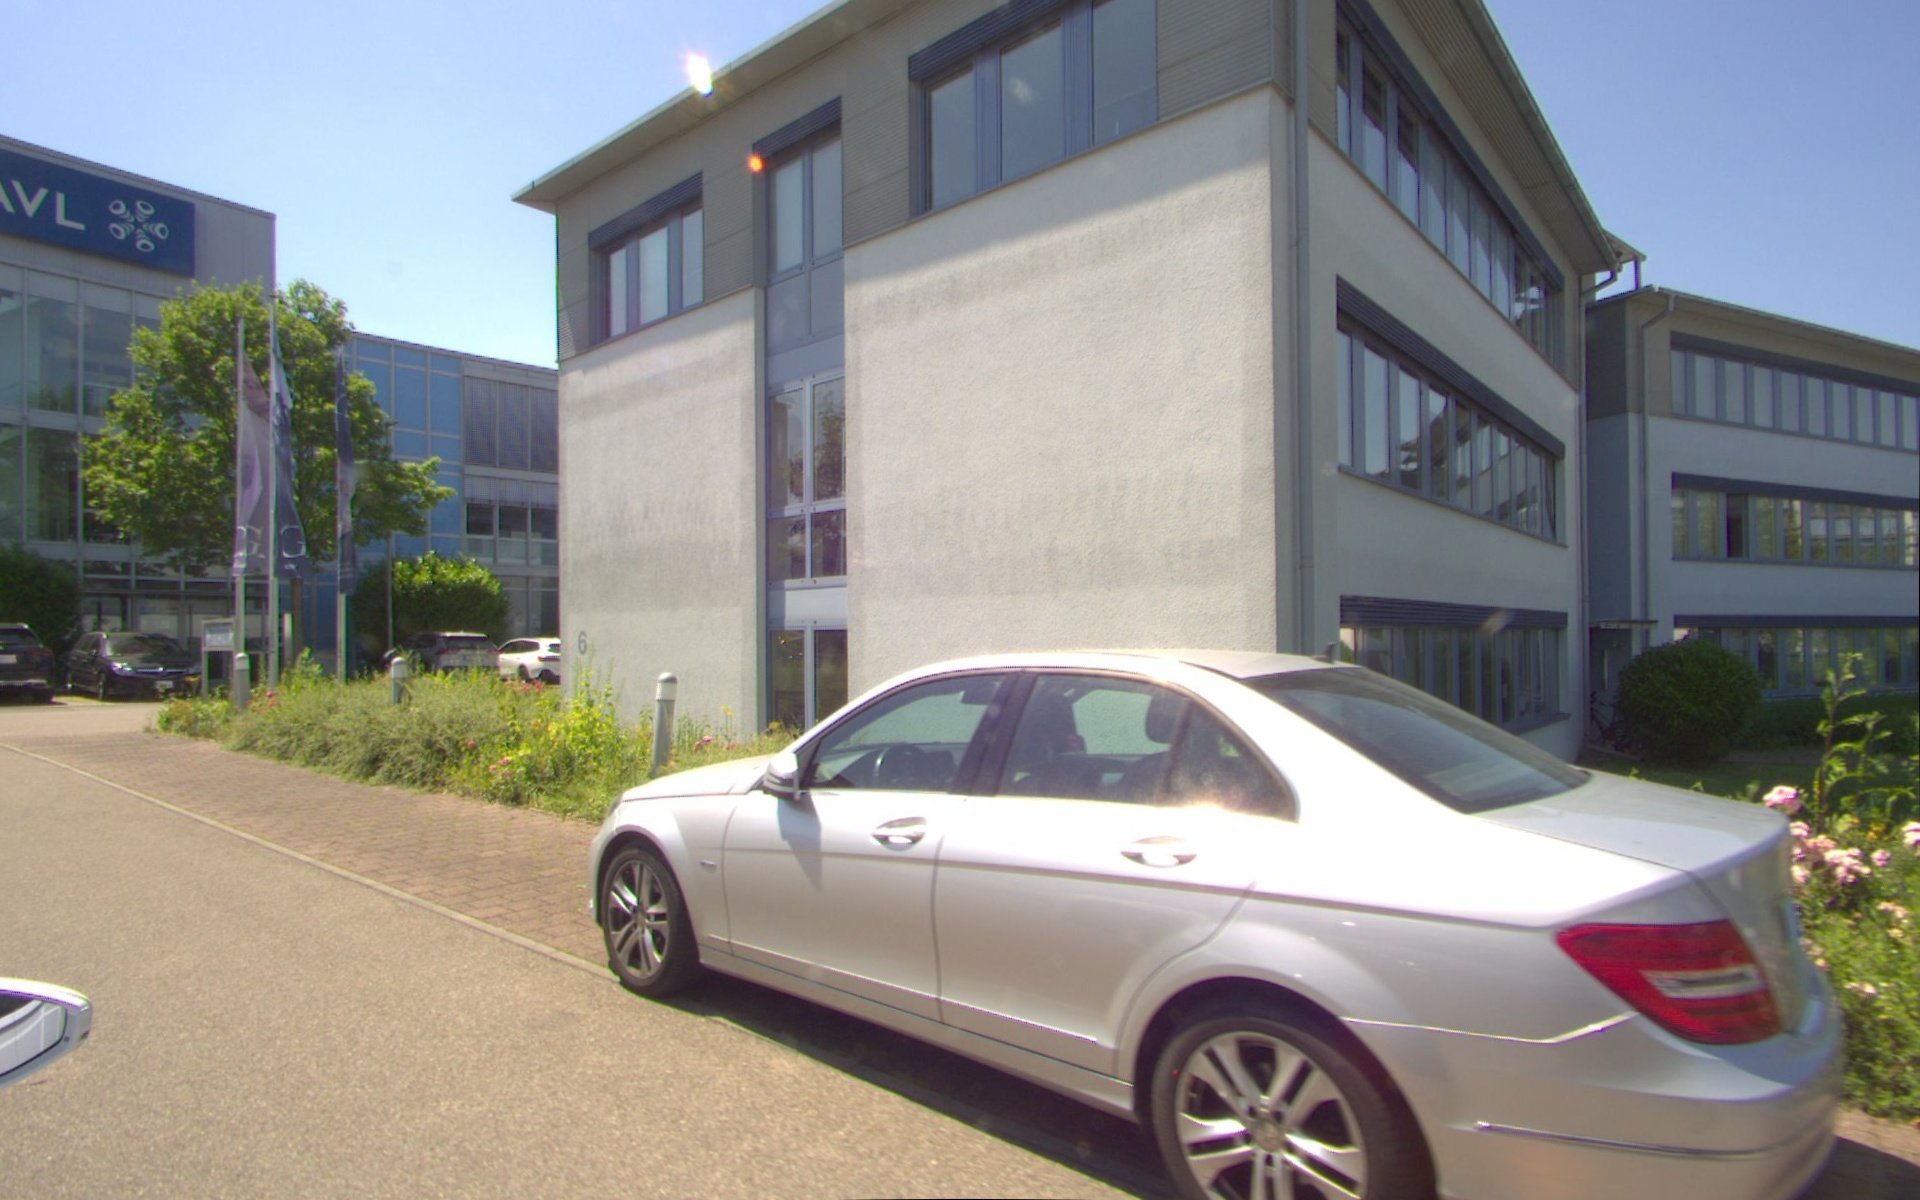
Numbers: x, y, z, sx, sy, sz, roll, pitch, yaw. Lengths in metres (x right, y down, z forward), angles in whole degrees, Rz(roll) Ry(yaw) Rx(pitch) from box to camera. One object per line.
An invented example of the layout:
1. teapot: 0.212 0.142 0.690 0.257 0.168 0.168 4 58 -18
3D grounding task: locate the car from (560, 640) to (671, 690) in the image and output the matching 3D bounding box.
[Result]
1. car: -11.142 2.066 32.246 1.726 1.447 4.297 4 -4 -43

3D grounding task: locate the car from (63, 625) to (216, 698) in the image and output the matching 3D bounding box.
1. car: -18.921 1.355 23.038 4.203 1.501 1.764 0 -2 37

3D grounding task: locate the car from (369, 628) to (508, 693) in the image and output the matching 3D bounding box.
1. car: -14.787 1.666 28.325 4.283 1.640 1.814 0 -2 37

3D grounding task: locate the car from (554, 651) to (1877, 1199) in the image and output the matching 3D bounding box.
1. car: 0.403 0.914 3.721 4.370 1.415 1.791 -2 -3 42

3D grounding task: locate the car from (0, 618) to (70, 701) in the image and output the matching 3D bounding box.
1. car: -20.379 1.186 20.890 3.935 1.631 1.922 0 -3 37

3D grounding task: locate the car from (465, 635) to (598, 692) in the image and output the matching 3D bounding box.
1. car: -12.889 1.880 30.014 4.283 1.510 1.731 0 -3 37
